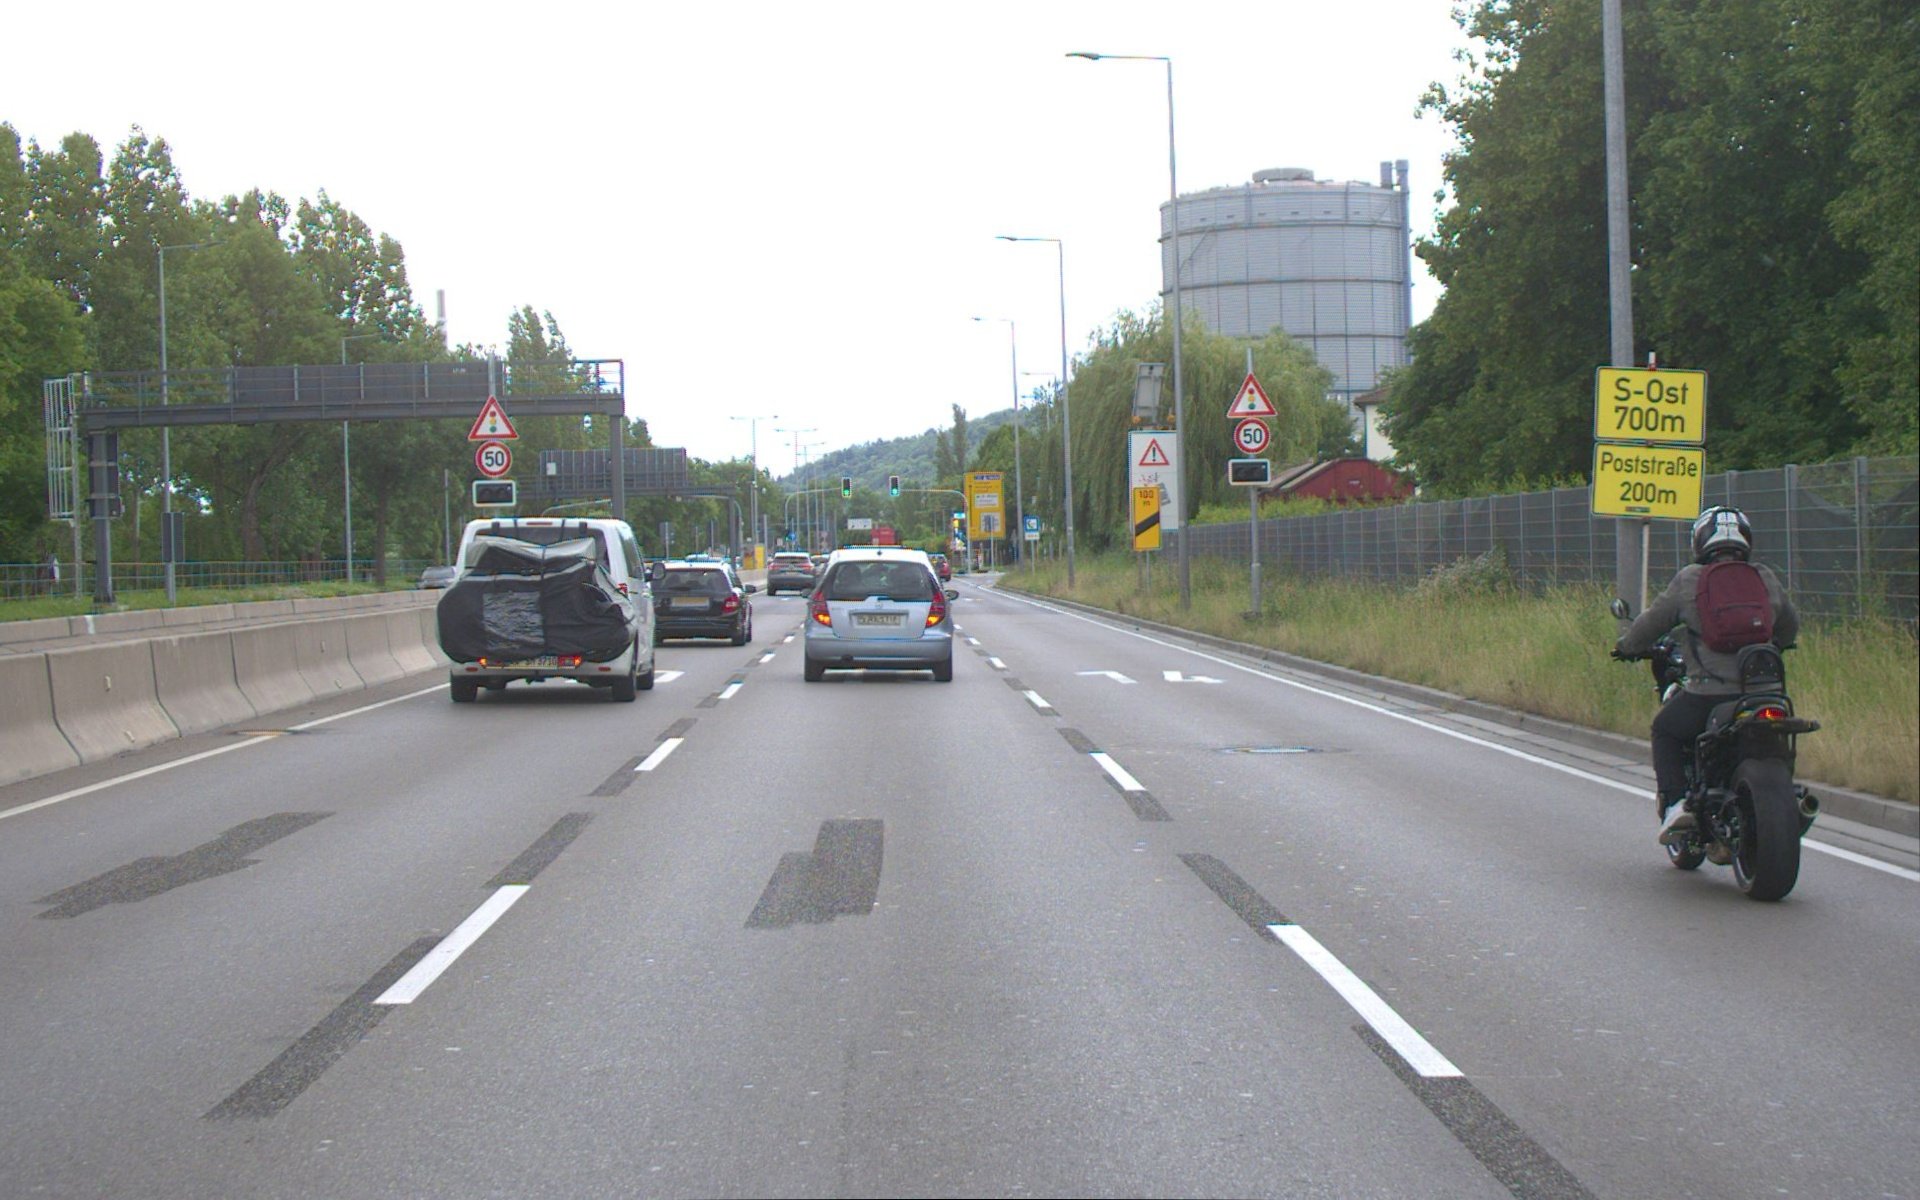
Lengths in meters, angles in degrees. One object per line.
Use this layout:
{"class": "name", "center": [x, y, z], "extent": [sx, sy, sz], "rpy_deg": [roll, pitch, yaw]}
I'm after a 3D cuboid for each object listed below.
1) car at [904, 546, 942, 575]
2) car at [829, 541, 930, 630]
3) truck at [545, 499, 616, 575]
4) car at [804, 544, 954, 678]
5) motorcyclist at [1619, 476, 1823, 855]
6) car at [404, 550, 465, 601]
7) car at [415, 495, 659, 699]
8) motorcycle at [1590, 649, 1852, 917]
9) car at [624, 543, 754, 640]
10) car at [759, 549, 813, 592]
{"class": "car", "center": [-2.104, -2.220, 193.385], "extent": [1.993, 1.546, 4.000], "rpy_deg": [1, 1, -2]}
{"class": "car", "center": [-1.562, -0.303, 67.470], "extent": [1.907, 1.678, 4.000], "rpy_deg": [1, 1, -1]}
{"class": "truck", "center": [-15.964, -2.638, 144.956], "extent": [2.403, 3.096, 7.202], "rpy_deg": [1, 1, -2]}
{"class": "car", "center": [-0.989, 0.102, 41.714], "extent": [1.710, 1.525, 4.000], "rpy_deg": [1, 1, -2]}
{"class": "motorcyclist", "center": [3.326, 0.275, 15.093], "extent": [0.685, 1.604, 0.845], "rpy_deg": [1, 1, 1]}
{"class": "car", "center": [-21.311, -0.990, 139.447], "extent": [1.993, 2.007, 4.000], "rpy_deg": [1, 1, -2]}
{"class": "car", "center": [-4.268, -0.057, 35.431], "extent": [2.214, 1.919, 5.003], "rpy_deg": [1, 1, -4]}
{"class": "motorcycle", "center": [3.326, 0.770, 15.200], "extent": [0.706, 1.036, 2.027], "rpy_deg": [1, 1, 1]}
{"class": "car", "center": [-4.512, -0.160, 57.781], "extent": [1.993, 1.546, 4.000], "rpy_deg": [1, 1, -2]}
{"class": "car", "center": [-6.525, -1.117, 129.267], "extent": [1.993, 1.546, 4.000], "rpy_deg": [1, 1, -2]}
